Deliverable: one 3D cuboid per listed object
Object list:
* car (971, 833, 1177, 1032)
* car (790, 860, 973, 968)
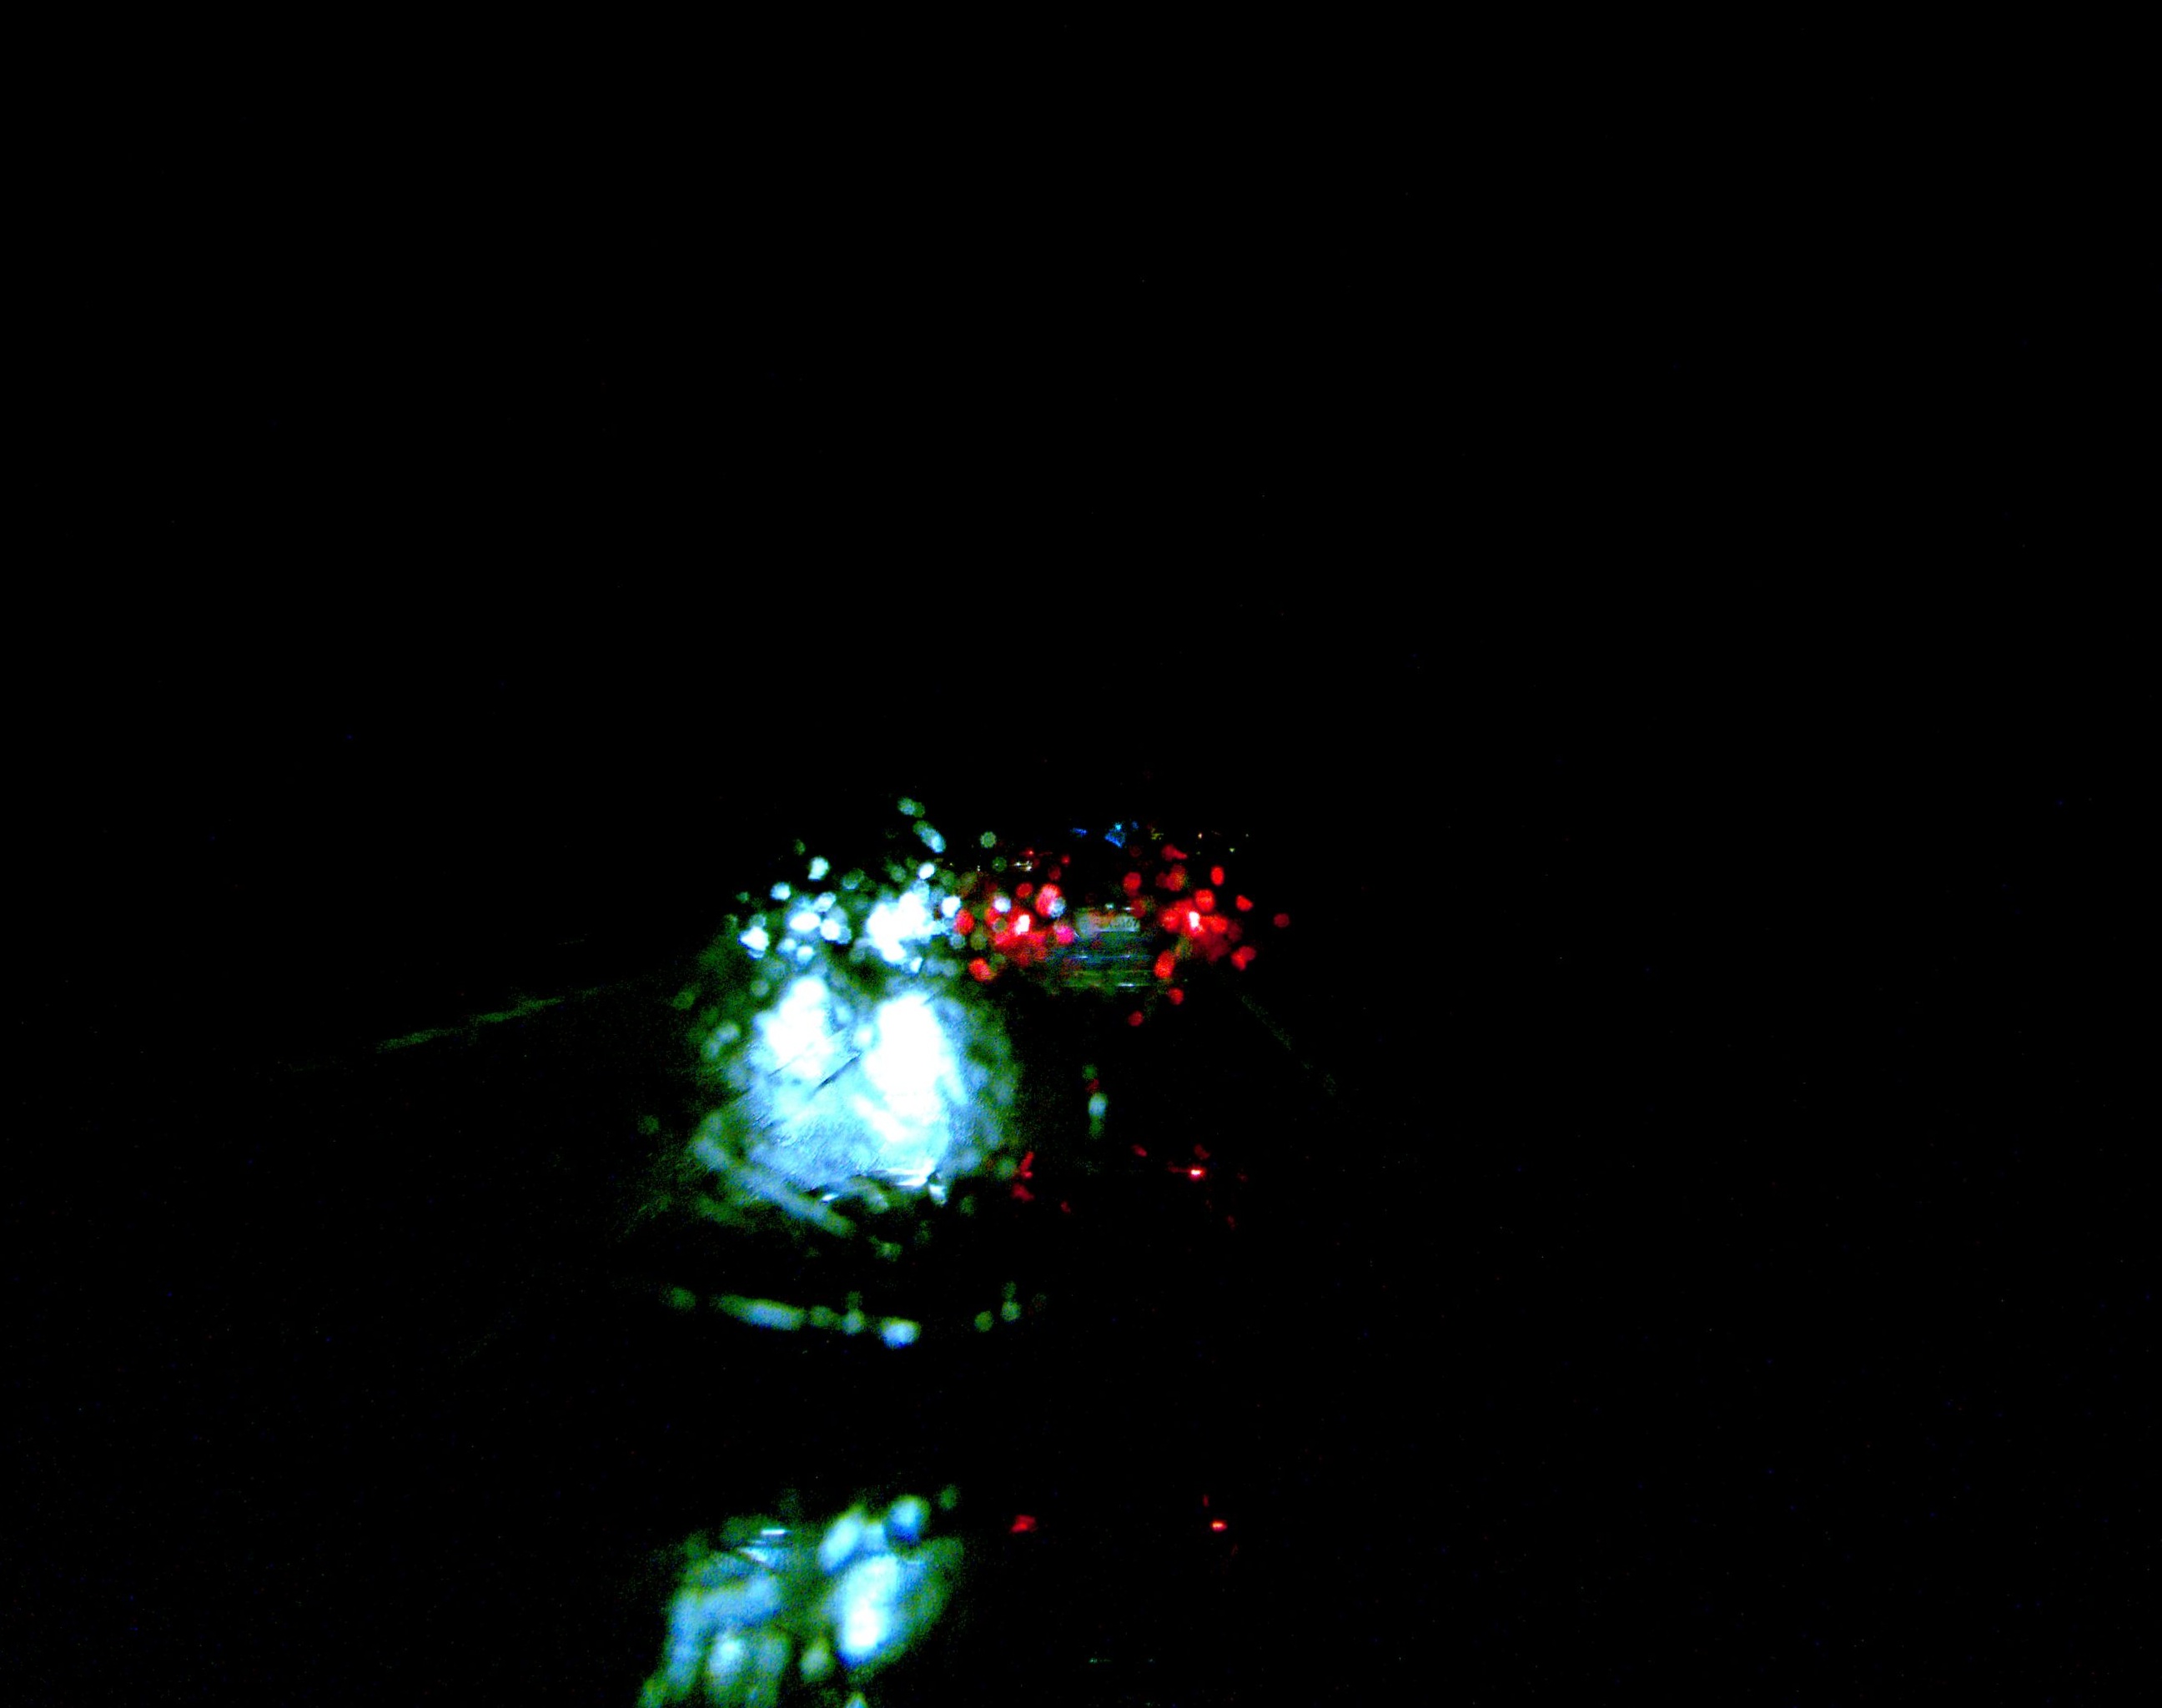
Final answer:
[{"bbox_3d":[0.021,0.706,9.060,1.768,1.712,4.002,-1,-1,2],"label":"car"},{"bbox_3d":[-3.096,0.861,13.597,1.897,1.470,4.275,1,0,1],"label":"car"}]
